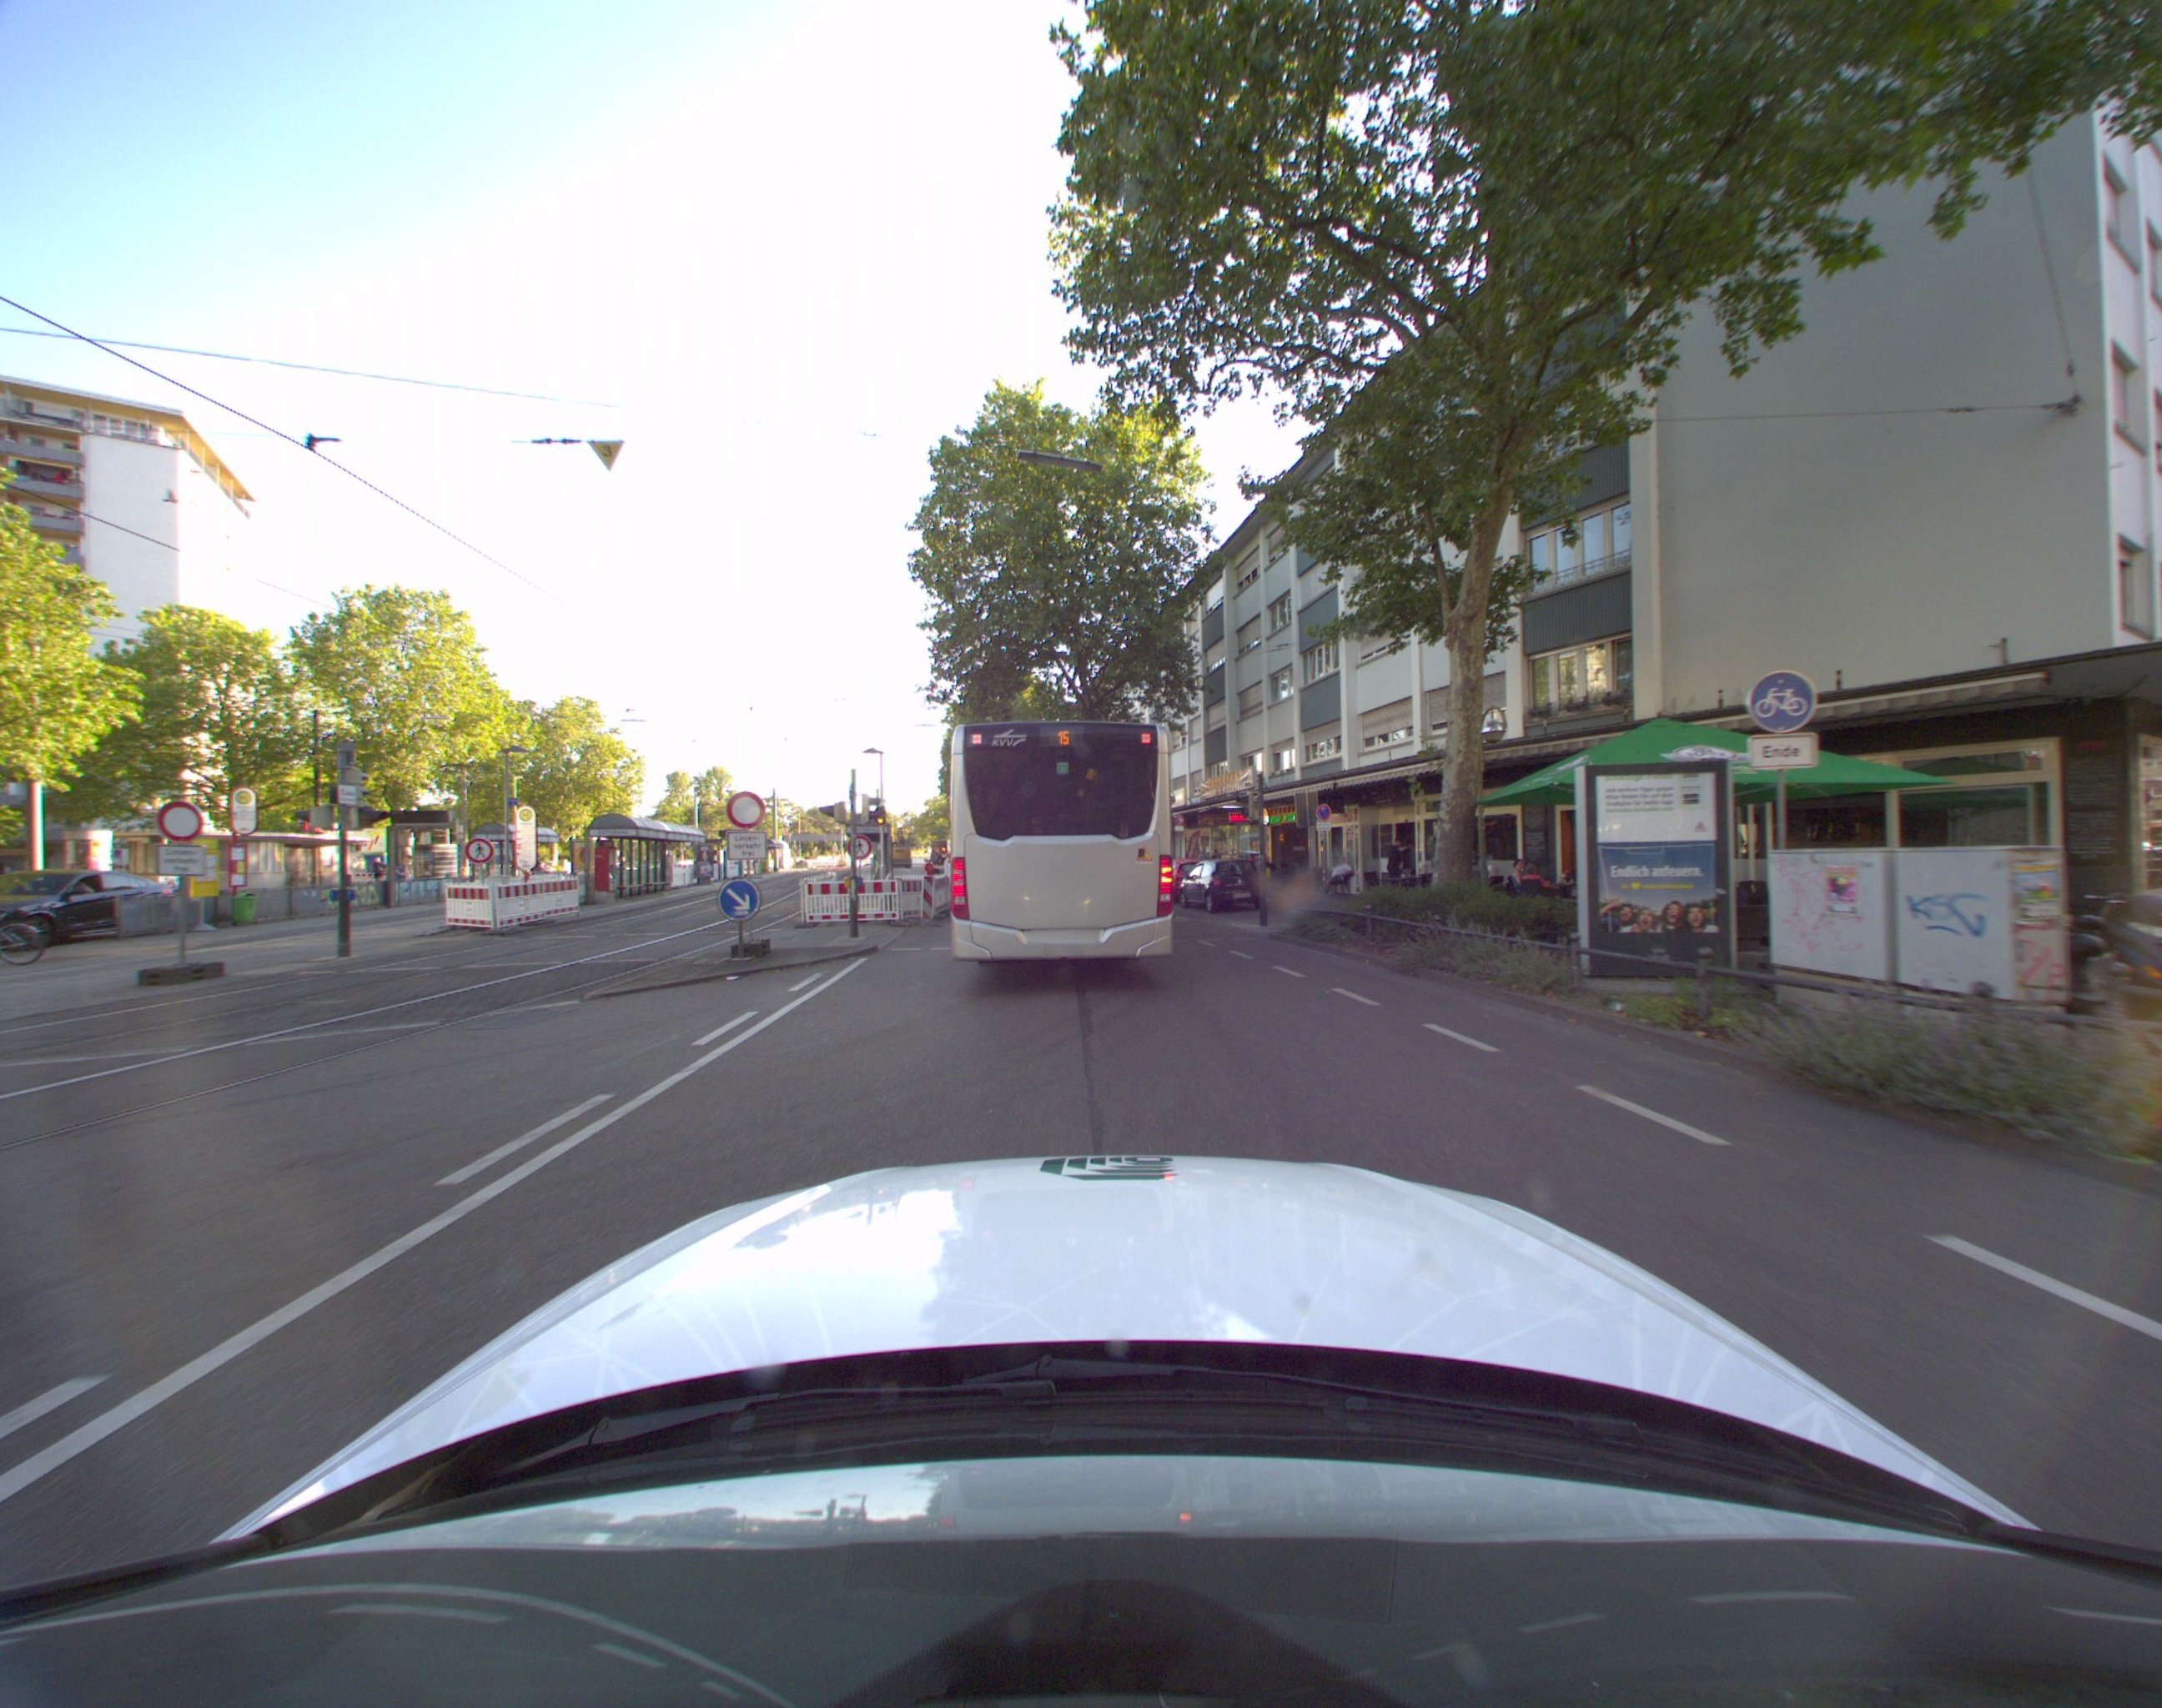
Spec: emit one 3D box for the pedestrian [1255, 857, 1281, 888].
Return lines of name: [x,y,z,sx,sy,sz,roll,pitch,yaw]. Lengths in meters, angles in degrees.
pedestrian: [7.043,0.693,30.741,0.705,1.108,0.764,-1,0,-10]

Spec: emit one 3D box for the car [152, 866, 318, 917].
car: [-28.637,1.211,27.783,1.887,1.531,4.189,-1,0,-12]

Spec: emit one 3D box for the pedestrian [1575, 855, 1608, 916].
pedestrian: [10.674,0.648,17.030,0.397,1.238,0.452,-1,0,2]

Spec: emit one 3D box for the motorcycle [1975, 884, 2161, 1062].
motorcycle: [7.725,0.840,6.180,0.566,1.158,1.466,1,0,15]

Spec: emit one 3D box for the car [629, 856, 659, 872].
car: [-43.880,0.981,81.858,1.890,1.531,4.183,-1,0,-17]

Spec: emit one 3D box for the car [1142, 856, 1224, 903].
car: [3.413,0.816,27.875,1.664,1.394,3.398,-4,1,-13]

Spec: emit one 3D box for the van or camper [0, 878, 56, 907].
van or camper: [-62.220,2.254,46.833,1.805,1.552,4.026,-1,0,36]

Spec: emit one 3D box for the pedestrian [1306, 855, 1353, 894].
pedestrian: [8.068,0.654,26.448,1.178,1.197,0.923,-1,0,-10]

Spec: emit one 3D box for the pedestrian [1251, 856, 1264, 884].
pedestrian: [7.150,0.632,32.955,0.387,1.122,0.391,-1,0,-11]

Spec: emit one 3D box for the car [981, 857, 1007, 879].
car: [-6.063,0.948,56.978,1.753,1.464,3.992,-1,0,-6]

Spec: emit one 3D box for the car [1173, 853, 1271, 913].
car: [4.051,0.785,23.866,1.663,1.516,3.400,-4,1,-11]

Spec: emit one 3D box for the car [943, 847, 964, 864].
car: [-11.359,0.126,72.582,1.756,1.464,3.987,-1,0,-9]

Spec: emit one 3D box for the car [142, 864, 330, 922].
car: [-25.137,1.095,24.483,1.887,1.531,4.189,-1,0,-12]

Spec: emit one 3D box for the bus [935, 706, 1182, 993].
bus: [-0.483,-0.037,13.979,2.652,3.098,10.204,-1,0,-3]

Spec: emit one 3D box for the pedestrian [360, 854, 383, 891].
pedestrian: [-39.289,1.019,45.098,0.710,2.013,0.738,-1,0,-22]

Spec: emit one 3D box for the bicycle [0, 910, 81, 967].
bicycle: [-19.041,1.508,14.357,1.844,0.942,0.461,-1,0,-16]

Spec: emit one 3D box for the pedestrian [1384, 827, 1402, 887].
pedestrian: [9.002,0.082,23.497,0.356,1.718,0.309,1,0,-3]

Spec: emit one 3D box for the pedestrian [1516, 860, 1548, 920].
pedestrian: [9.607,0.760,17.342,0.453,1.238,0.396,-1,0,-28]

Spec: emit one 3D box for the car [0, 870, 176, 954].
car: [-22.492,1.186,17.531,1.887,1.585,4.189,-1,0,-12]

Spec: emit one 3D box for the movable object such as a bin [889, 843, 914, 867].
movable object such as a bin: [-19.578,0.098,88.946,2.495,2.477,5.334,-1,0,-12]

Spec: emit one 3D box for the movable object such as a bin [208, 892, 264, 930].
movable object such as a bin: [-20.893,1.407,20.158,0.671,0.866,0.699,1,0,-12]

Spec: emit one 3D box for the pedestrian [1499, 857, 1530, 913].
pedestrian: [9.807,0.691,18.423,0.400,1.238,0.448,-1,0,-27]

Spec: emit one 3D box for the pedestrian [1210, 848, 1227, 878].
pedestrian: [5.713,0.367,33.939,0.592,1.256,0.391,-1,0,-9]

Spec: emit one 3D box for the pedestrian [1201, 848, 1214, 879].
pedestrian: [5.235,0.386,33.700,0.387,1.256,0.391,-1,0,-11]
